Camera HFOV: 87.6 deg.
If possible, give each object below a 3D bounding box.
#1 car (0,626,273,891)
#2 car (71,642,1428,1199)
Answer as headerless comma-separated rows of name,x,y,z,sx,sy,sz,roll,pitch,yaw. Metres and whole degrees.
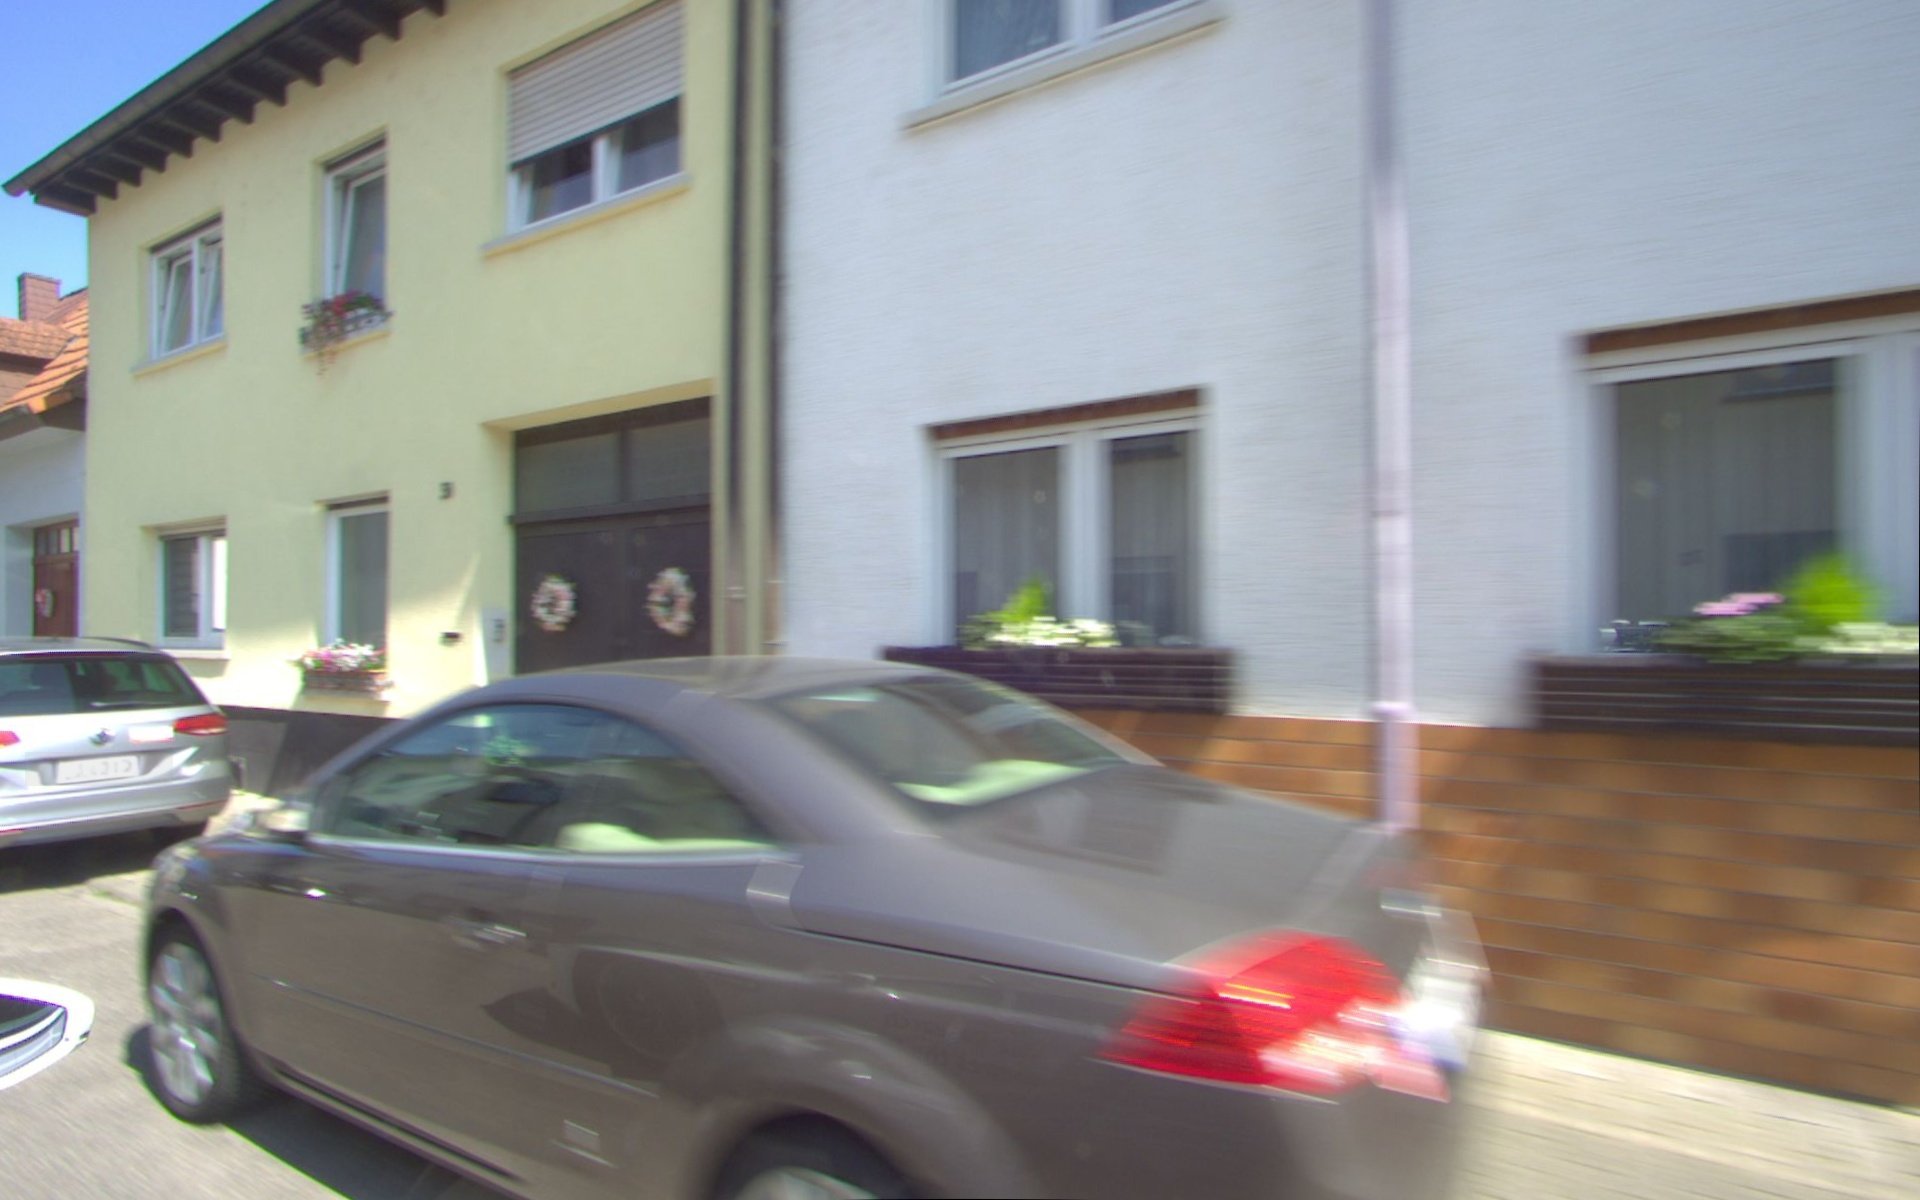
car,-7.092,0.932,7.140,4.706,1.466,1.836,-1,-3,31
car,-0.860,0.876,3.096,4.043,1.453,1.695,-1,-3,31
